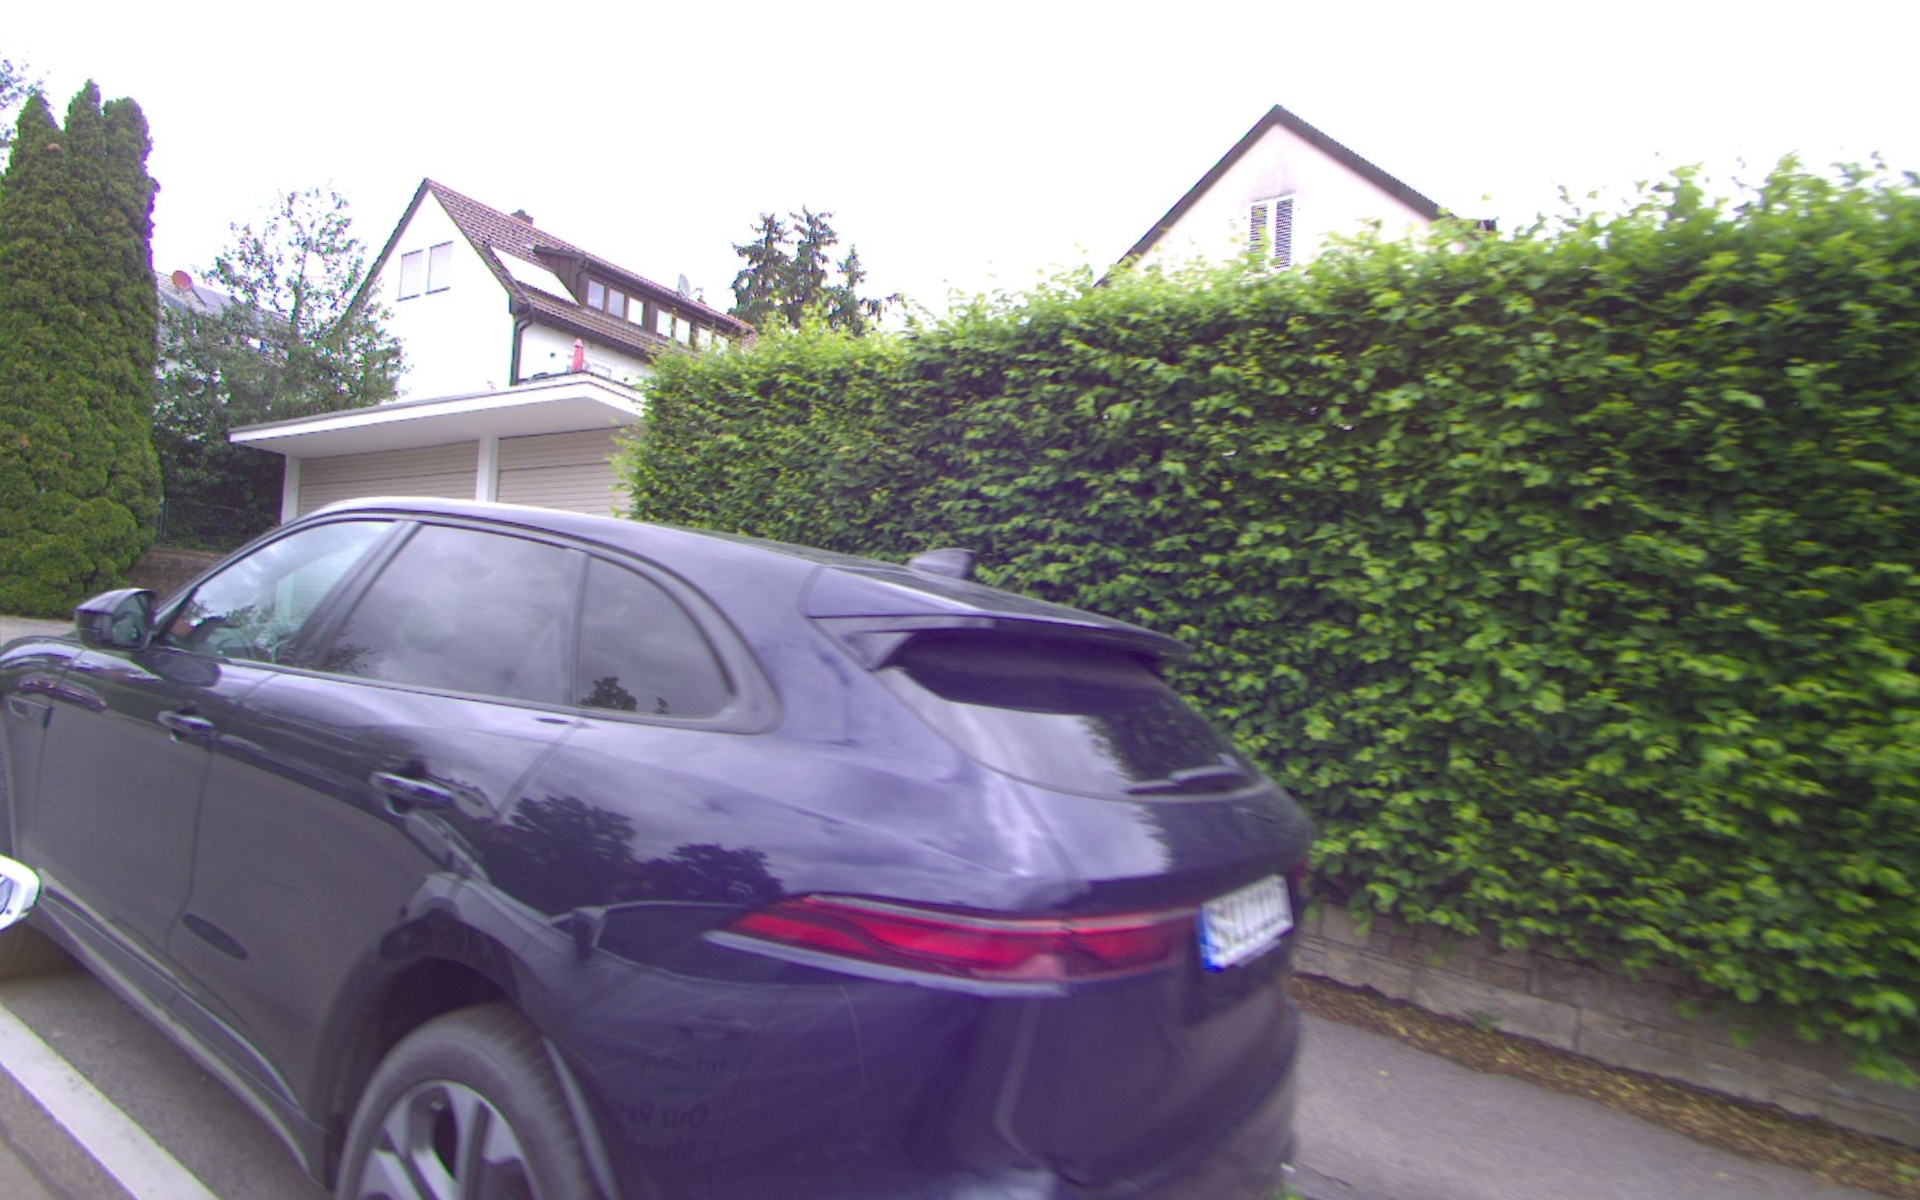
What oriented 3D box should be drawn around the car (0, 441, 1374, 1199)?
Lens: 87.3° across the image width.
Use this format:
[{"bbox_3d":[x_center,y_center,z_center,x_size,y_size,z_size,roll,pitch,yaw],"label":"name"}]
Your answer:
[{"bbox_3d":[-1.344,0.575,3.112,4.440,1.636,1.997,6,-3,33],"label":"car"}]
